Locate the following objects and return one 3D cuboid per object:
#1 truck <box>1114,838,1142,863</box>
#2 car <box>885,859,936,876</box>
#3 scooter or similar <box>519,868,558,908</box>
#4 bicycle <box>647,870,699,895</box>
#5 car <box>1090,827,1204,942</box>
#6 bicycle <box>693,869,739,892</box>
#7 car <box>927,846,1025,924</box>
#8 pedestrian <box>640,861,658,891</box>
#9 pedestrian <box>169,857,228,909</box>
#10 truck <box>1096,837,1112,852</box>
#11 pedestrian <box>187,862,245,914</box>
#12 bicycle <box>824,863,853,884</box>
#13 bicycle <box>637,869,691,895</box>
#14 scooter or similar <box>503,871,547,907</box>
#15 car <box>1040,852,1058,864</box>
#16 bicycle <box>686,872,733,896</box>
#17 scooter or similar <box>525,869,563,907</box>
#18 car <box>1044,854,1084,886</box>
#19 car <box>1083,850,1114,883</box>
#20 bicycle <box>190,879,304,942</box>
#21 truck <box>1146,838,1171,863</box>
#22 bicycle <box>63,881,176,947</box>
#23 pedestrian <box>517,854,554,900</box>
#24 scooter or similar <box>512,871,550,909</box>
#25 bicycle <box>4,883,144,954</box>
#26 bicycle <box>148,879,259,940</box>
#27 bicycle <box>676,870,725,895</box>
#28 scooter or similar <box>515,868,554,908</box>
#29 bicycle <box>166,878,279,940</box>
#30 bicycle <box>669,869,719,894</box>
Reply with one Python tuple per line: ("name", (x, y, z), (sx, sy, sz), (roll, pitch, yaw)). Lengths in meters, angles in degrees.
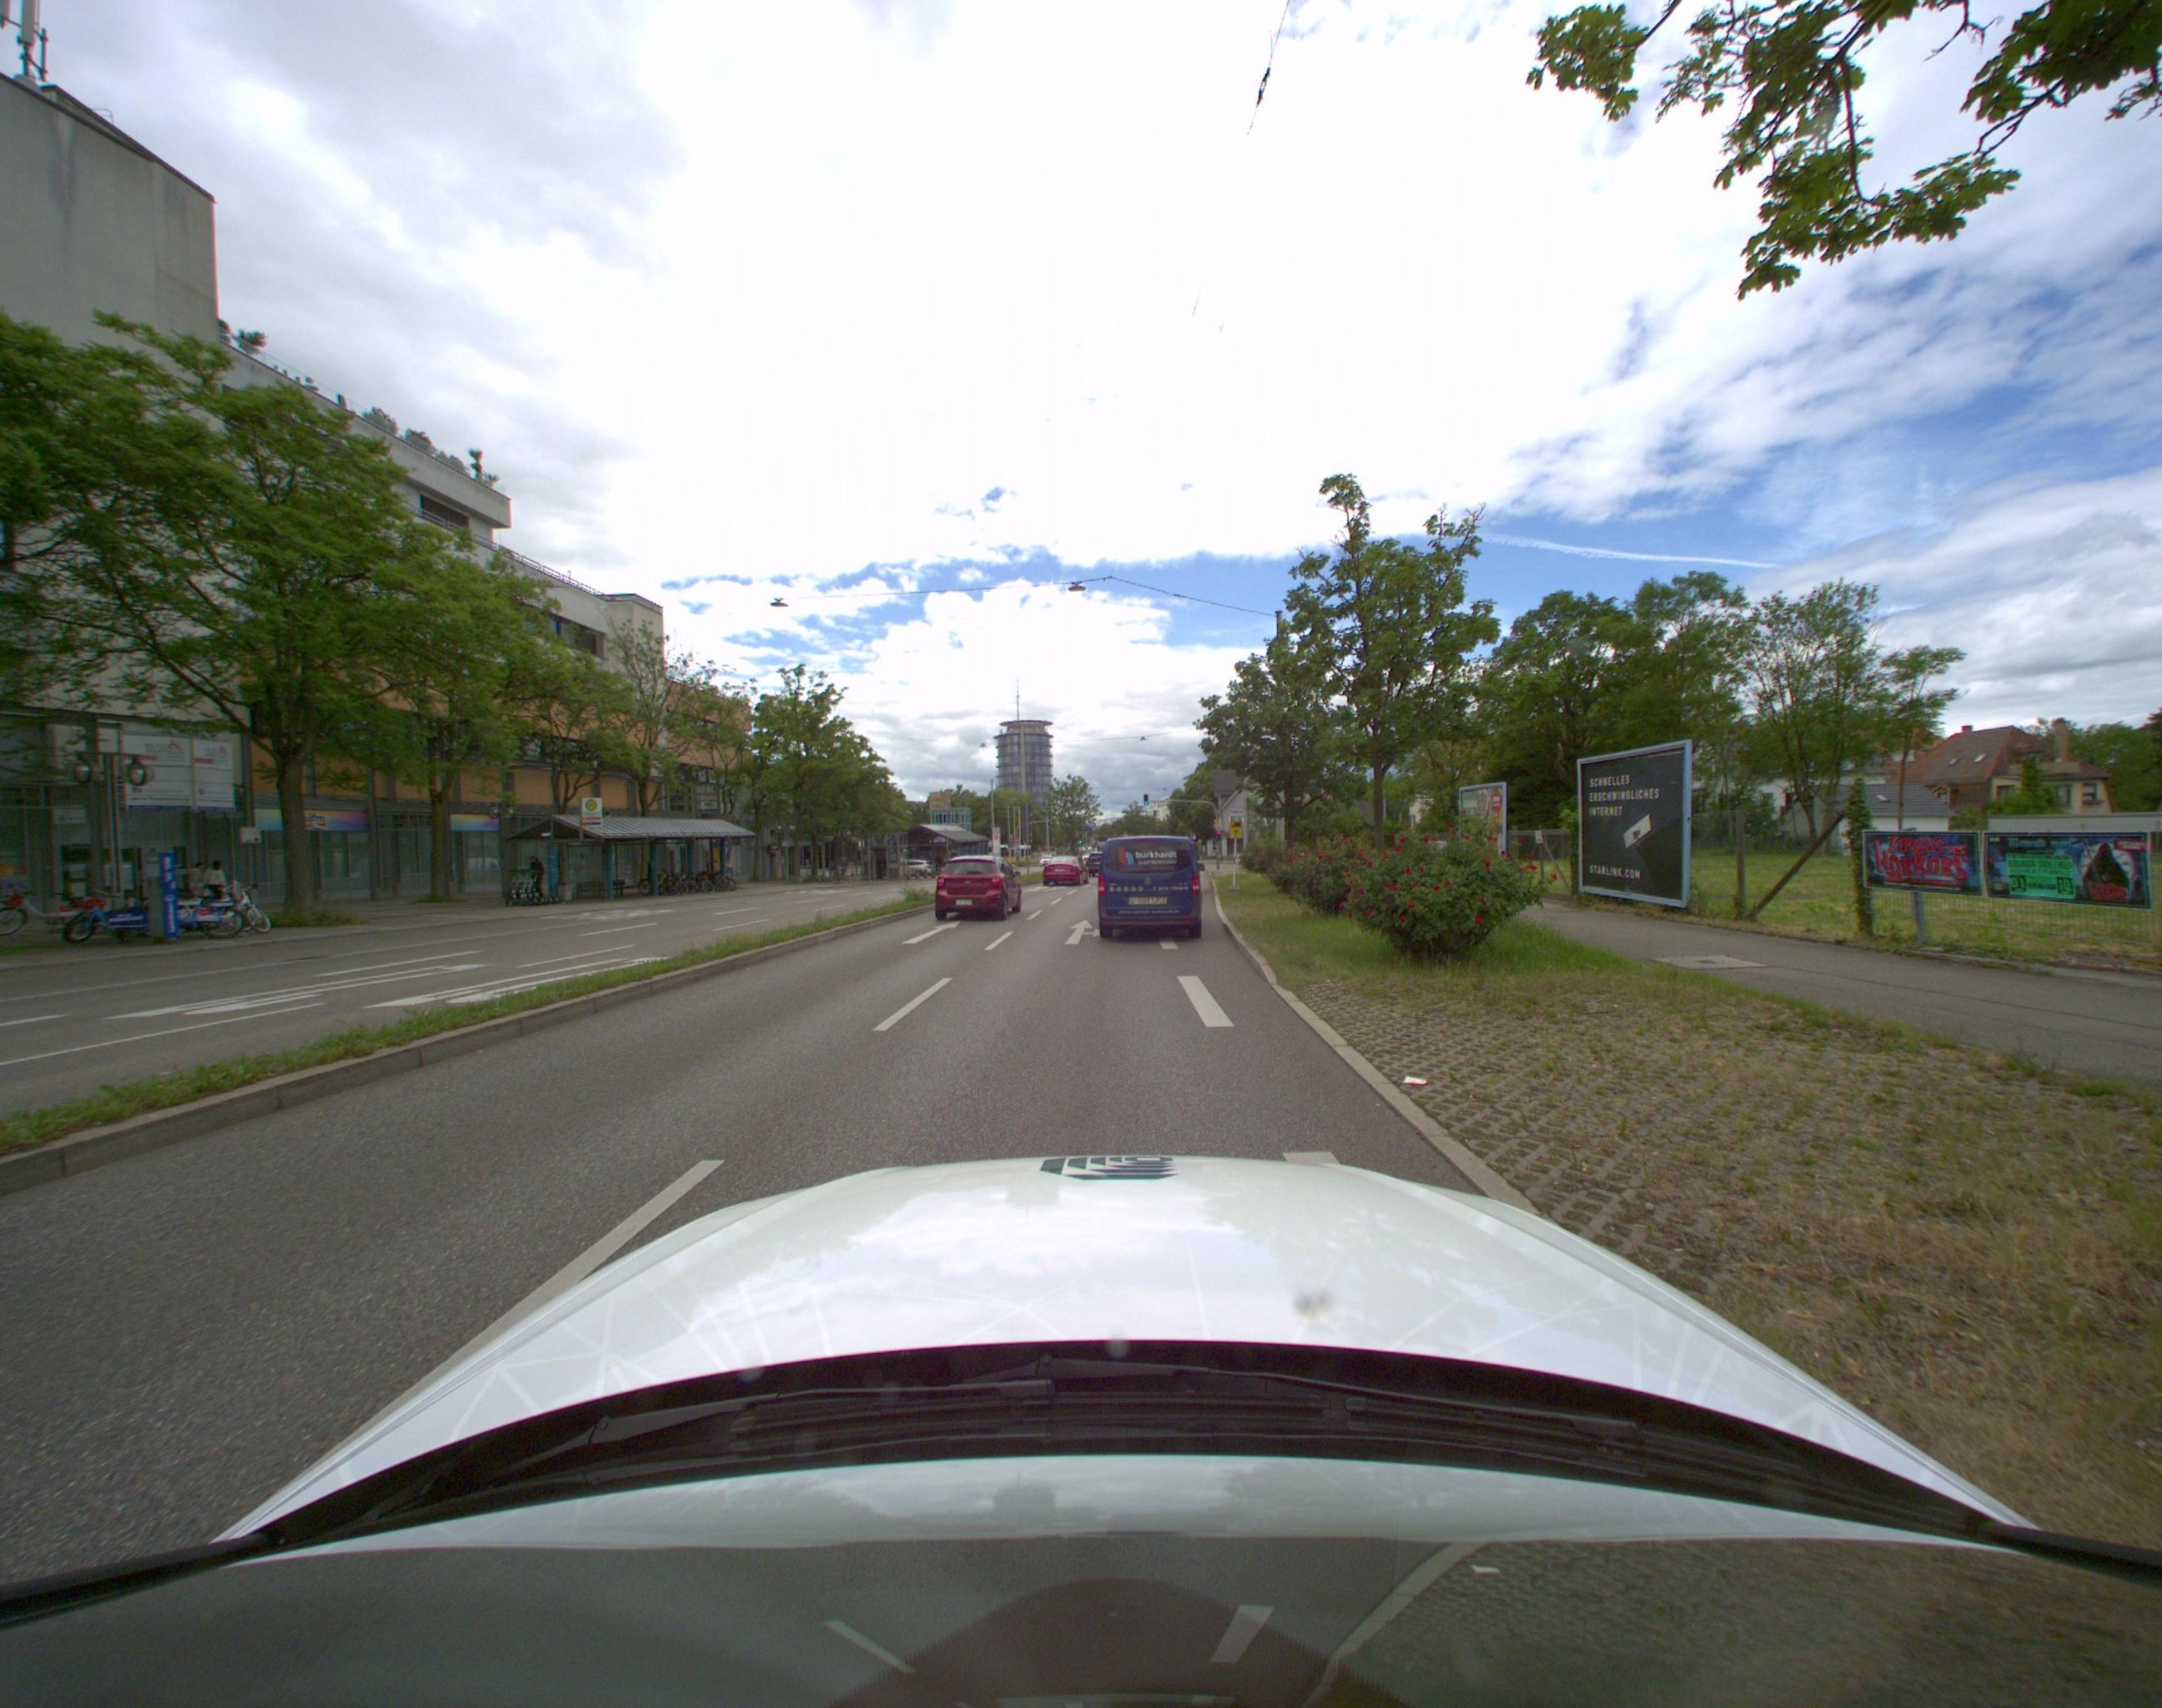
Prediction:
("truck", (4.276, -0.310, 73.496), (1.982, 2.165, 5.572), (1, 0, 9))
("car", (-14.925, 1.196, 71.576), (3.974, 1.354, 2.000), (-2, 0, 0))
("scooter or similar", (-19.635, 1.223, 29.473), (1.197, 1.423, 0.259), (-2, 0, 0))
("bicycle", (-19.300, 1.341, 38.579), (2.063, 1.153, 0.710), (1, 0, -8))
("car", (1.422, 0.531, 16.290), (1.937, 1.965, 4.551), (-1, 0, 7))
("bicycle", (-19.266, 1.377, 43.003), (2.063, 1.153, 0.710), (-1, 0, -8))
("car", (-2.523, 0.703, 20.521), (1.739, 1.723, 4.003), (-1, 0, 3))
("pedestrian", (-23.935, 1.196, 45.161), (0.529, 1.643, 0.677), (-2, 0, 9))
("pedestrian", (-28.293, 0.920, 26.124), (0.729, 1.618, 0.998), (-2, 0, 4))
("truck", (6.103, -2.457, 210.881), (3.351, 3.727, 11.298), (-1, 0, 6))
("pedestrian", (-27.471, 1.066, 25.884), (0.729, 1.618, 0.998), (-2, 0, 4))
("bicycle", (-15.931, 1.254, 53.611), (1.047, 1.271, 2.428), (1, 0, 4))
("bicycle", (-19.150, 1.289, 37.432), (2.063, 1.153, 0.710), (1, 0, -8))
("scooter or similar", (-19.504, 1.229, 28.568), (1.317, 1.269, 0.339), (0, 0, 0))
("car", (-4.454, 0.489, 113.592), (1.614, 1.574, 4.010), (-2, 0, 9))
("bicycle", (-19.127, 1.524, 41.963), (2.063, 1.153, 0.710), (2, -1, -8))
("scooter or similar", (-19.625, 1.236, 29.772), (1.197, 1.320, 0.259), (-2, 0, 0))
("car", (-0.827, 0.758, 40.624), (1.863, 1.486, 3.998), (-1, 0, -1))
("car", (1.150, 0.798, 54.538), (1.987, 2.013, 3.999), (0, 1, 0))
("bicycle", (-18.282, 1.204, 17.875), (0.619, 1.253, 1.694), (-2, 0, 41))
("truck", (7.265, -0.317, 75.810), (1.982, 2.165, 5.572), (1, 0, 9))
("bicycle", (-20.005, 1.226, 16.987), (0.427, 1.253, 1.479), (-2, 0, 43))
("pedestrian", (-21.978, 0.911, 32.810), (0.729, 1.781, 0.998), (-2, 0, 4))
("scooter or similar", (-19.549, 1.270, 28.929), (1.124, 1.295, 0.268), (-2, 0, -1))
("bicycle", (-19.821, 1.241, 16.094), (0.619, 1.253, 1.694), (-2, 0, 41))
("bicycle", (-20.096, 1.246, 18.673), (0.619, 1.253, 1.694), (-2, 0, 41))
("bicycle", (-19.135, 1.409, 40.968), (2.063, 1.153, 0.710), (-2, 0, -8))
("scooter or similar", (-19.587, 1.211, 29.203), (1.197, 1.385, 0.222), (-2, 0, 0))
("bicycle", (-19.186, 1.206, 18.231), (0.619, 1.253, 1.694), (-2, 0, 41))
("bicycle", (-18.807, 1.342, 39.569), (2.063, 1.153, 0.710), (0, 0, -8))
